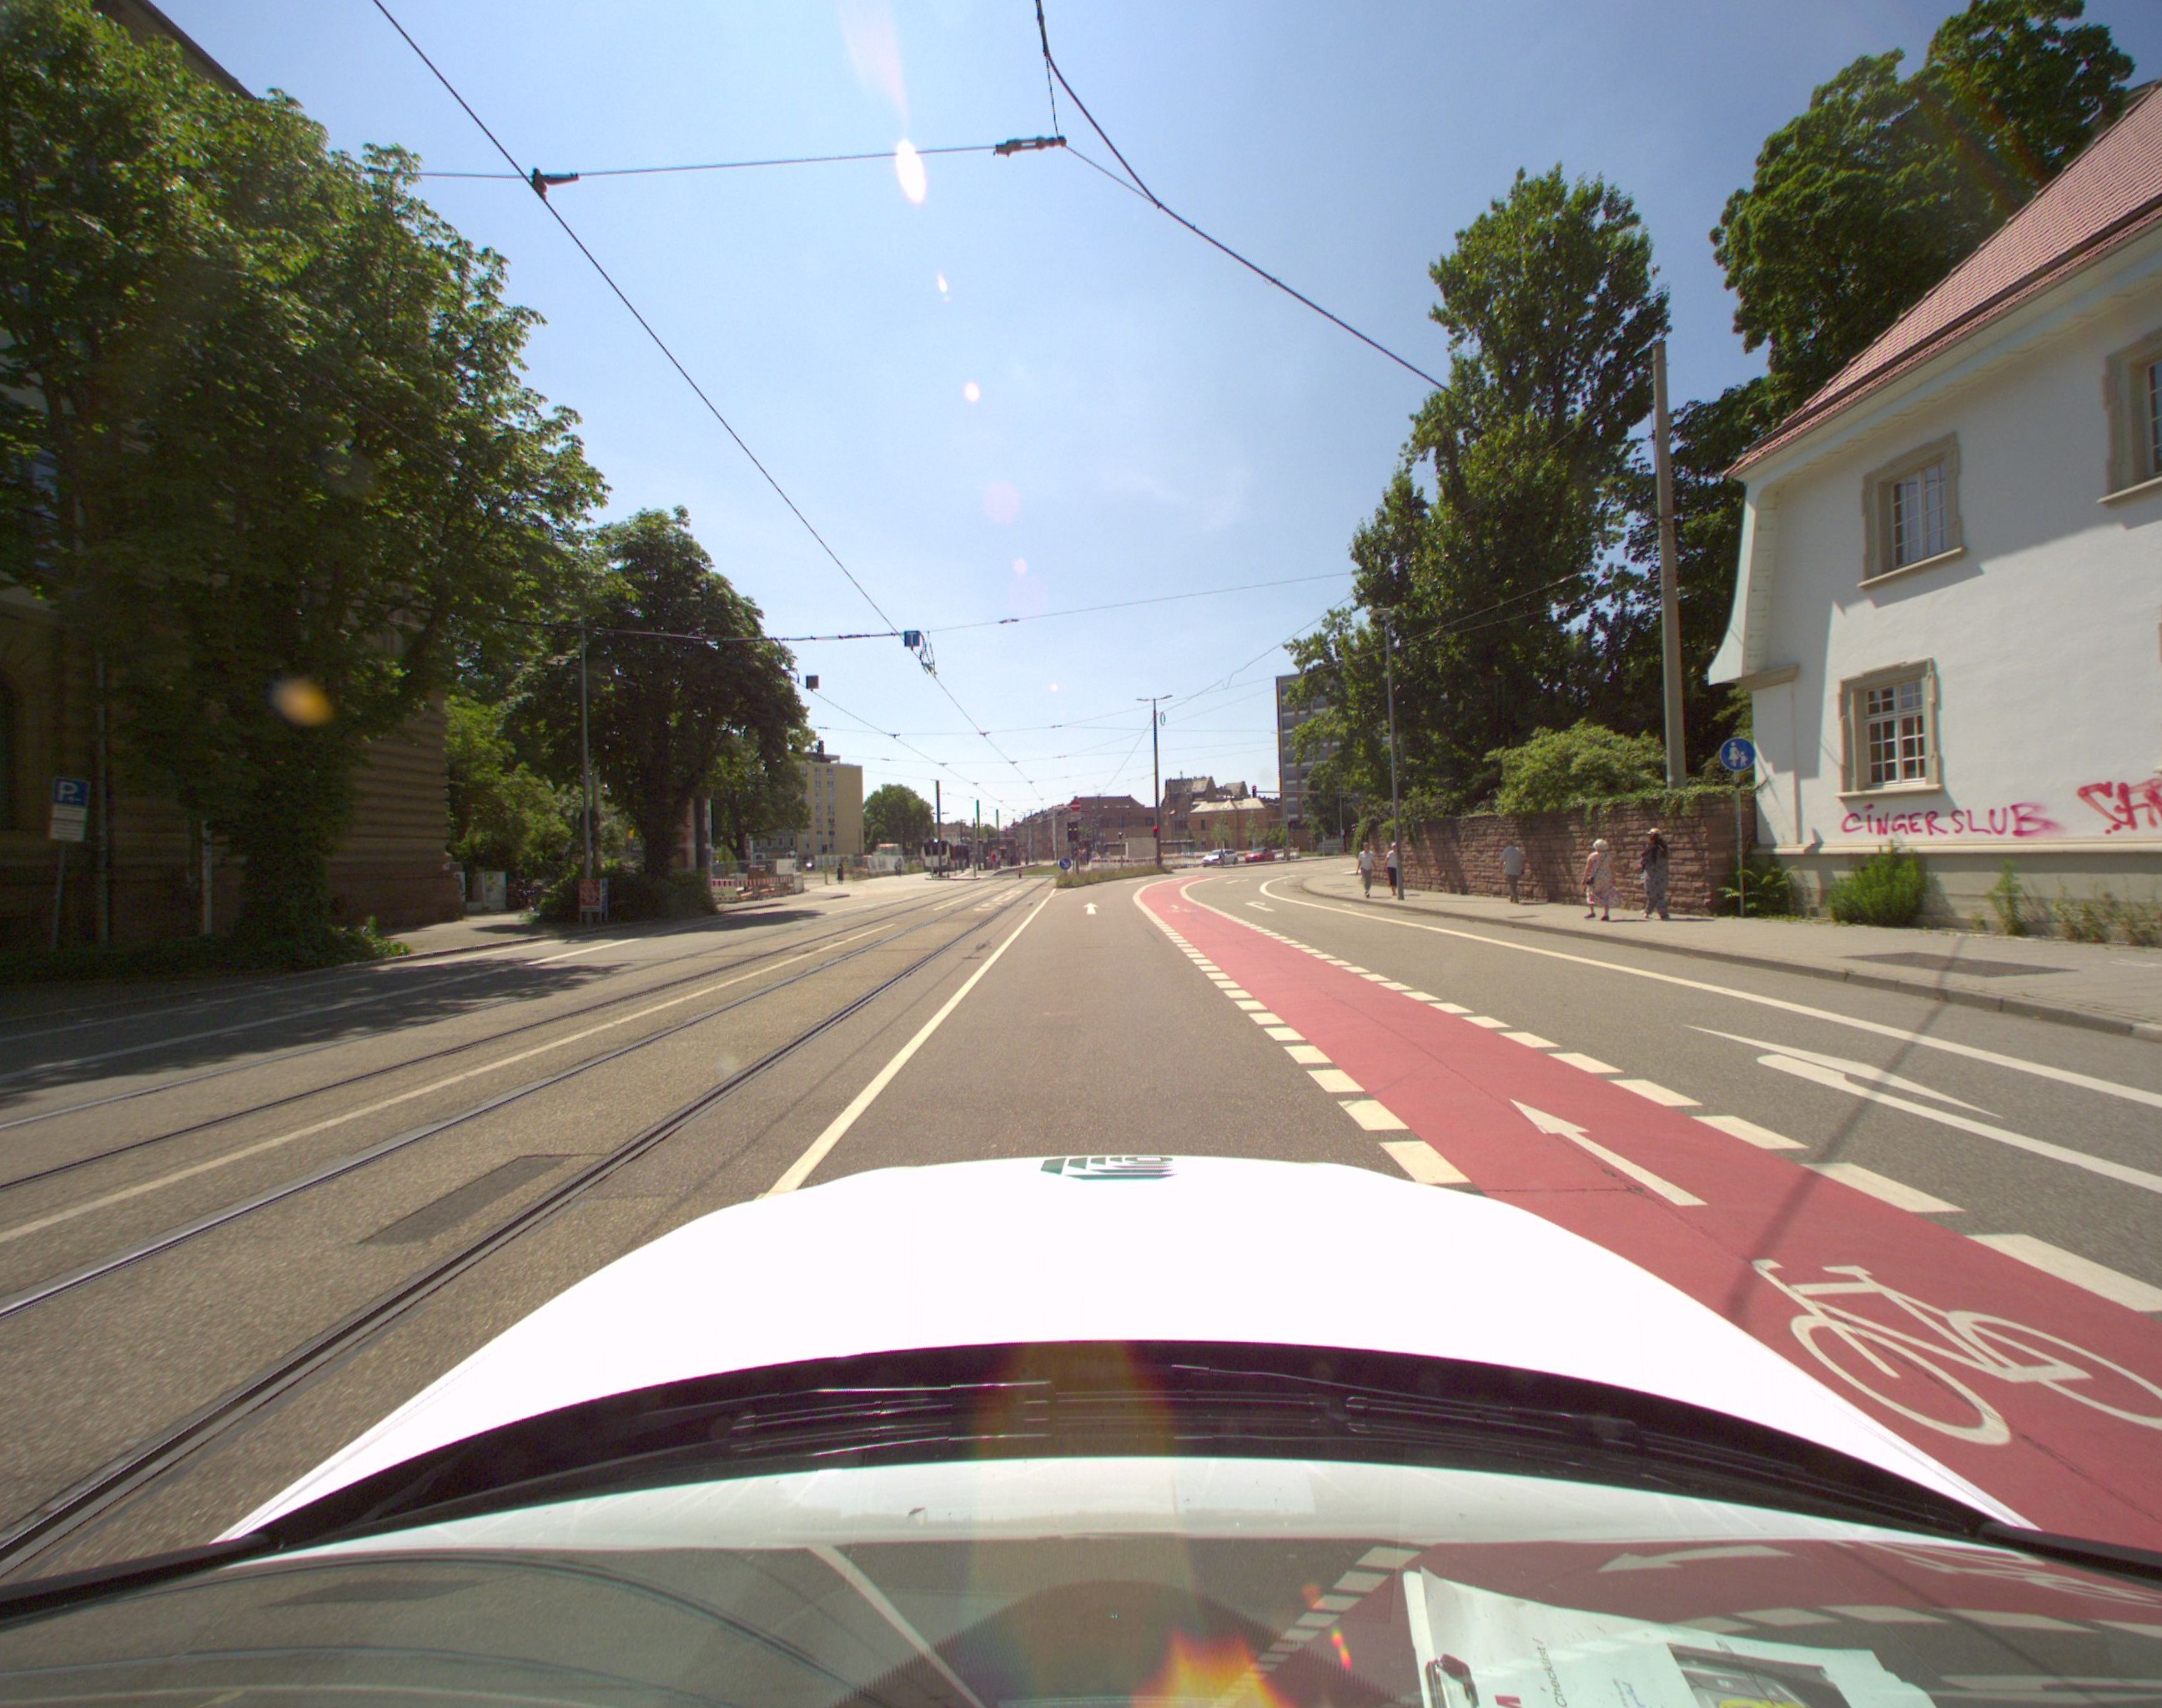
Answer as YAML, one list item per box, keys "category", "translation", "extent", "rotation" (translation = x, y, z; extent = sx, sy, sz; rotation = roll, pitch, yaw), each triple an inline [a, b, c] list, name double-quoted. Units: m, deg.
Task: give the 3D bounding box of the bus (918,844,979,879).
- category: "bus"
  translation: [-13.433, 0.743, 84.725]
  extent: [2.999, 3.158, 17.501]
  rotation: [-2, 0, 1]

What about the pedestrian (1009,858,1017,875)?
- category: "pedestrian"
  translation: [-8.591, 1.544, 102.887]
  extent: [0.895, 2.096, 0.833]
  rotation: [-2, 0, 5]

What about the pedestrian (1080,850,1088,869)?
- category: "pedestrian"
  translation: [0.283, 0.550, 81.638]
  extent: [0.656, 1.832, 0.758]
  rotation: [-2, 0, -7]

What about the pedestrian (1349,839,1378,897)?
- category: "pedestrian"
  translation: [9.094, 0.452, 26.229]
  extent: [0.674, 1.808, 0.749]
  rotation: [-2, 0, 4]

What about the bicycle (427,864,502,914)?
- category: "bicycle"
  translation: [-21.425, 1.217, 28.325]
  extent: [2.309, 1.692, 0.553]
  rotation: [-1, -1, 5]

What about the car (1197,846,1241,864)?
- category: "car"
  translation: [12.129, 0.089, 71.285]
  extent: [1.974, 1.438, 4.735]
  rotation: [-2, -1, 35]

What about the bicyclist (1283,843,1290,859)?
- category: "bicyclist"
  translation: [22.703, -0.327, 89.884]
  extent: [0.561, 1.719, 0.510]
  rotation: [-3, -1, 41]

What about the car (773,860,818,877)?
- category: "car"
  translation: [-30.821, 1.537, 87.994]
  extent: [4.154, 1.649, 1.858]
  rotation: [-2, 0, 12]

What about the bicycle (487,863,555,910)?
- category: "bicycle"
  translation: [-21.162, 1.221, 30.786]
  extent: [2.309, 1.692, 0.553]
  rotation: [-1, -1, 5]

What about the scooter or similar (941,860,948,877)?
- category: "scooter or similar"
  translation: [-10.090, 1.083, 60.304]
  extent: [0.318, 1.206, 1.247]
  rotation: [-2, 0, -4]

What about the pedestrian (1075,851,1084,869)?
- category: "pedestrian"
  translation: [-0.178, 0.587, 80.279]
  extent: [0.727, 1.707, 0.741]
  rotation: [-1, -1, -11]

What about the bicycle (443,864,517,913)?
- category: "bicycle"
  translation: [-21.354, 1.218, 28.936]
  extent: [2.309, 1.692, 0.553]
  rotation: [-1, -1, 5]

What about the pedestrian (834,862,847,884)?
- category: "pedestrian"
  translation: [-18.440, 1.463, 62.490]
  extent: [0.602, 1.602, 0.828]
  rotation: [-2, 0, 10]

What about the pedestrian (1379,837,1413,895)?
- category: "pedestrian"
  translation: [10.141, 0.380, 26.243]
  extent: [0.810, 1.808, 0.701]
  rotation: [-2, 0, 4]

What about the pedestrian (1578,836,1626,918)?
- category: "pedestrian"
  translation: [10.033, 0.431, 15.694]
  extent: [0.513, 1.533, 0.598]
  rotation: [-2, 0, 5]

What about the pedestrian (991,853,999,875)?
- category: "pedestrian"
  translation: [-7.771, 0.905, 73.641]
  extent: [0.672, 1.909, 0.638]
  rotation: [-2, 0, -9]

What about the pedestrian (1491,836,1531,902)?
- category: "pedestrian"
  translation: [10.907, 0.373, 20.679]
  extent: [0.657, 1.647, 0.625]
  rotation: [-2, 0, 5]

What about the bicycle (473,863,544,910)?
- category: "bicycle"
  translation: [-21.211, 1.207, 30.180]
  extent: [2.309, 1.692, 0.553]
  rotation: [-1, -1, 5]

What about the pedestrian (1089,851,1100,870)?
- category: "pedestrian"
  translation: [1.322, 0.677, 82.253]
  extent: [0.771, 1.864, 0.722]
  rotation: [0, -2, -41]

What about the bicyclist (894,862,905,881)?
- category: "bicyclist"
  translation: [-16.447, 1.566, 73.922]
  extent: [0.819, 1.709, 0.770]
  rotation: [-2, 0, -2]

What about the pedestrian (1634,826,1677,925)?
- category: "pedestrian"
  translation: [10.700, 0.406, 15.163]
  extent: [0.621, 1.774, 0.723]
  rotation: [0, -5, 38]

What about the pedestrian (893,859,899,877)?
- category: "pedestrian"
  translation: [-18.242, 1.376, 80.327]
  extent: [0.566, 1.705, 0.396]
  rotation: [-2, 0, -7]

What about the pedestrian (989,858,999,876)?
- category: "pedestrian"
  translation: [-8.882, 1.336, 83.184]
  extent: [0.911, 1.851, 0.655]
  rotation: [-2, 0, -10]

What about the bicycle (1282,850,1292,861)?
- category: "bicycle"
  translation: [22.710, 0.185, 89.763]
  extent: [0.394, 1.174, 1.782]
  rotation: [-3, -2, 38]

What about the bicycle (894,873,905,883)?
- category: "bicycle"
  translation: [-16.440, 2.165, 73.728]
  extent: [0.502, 0.914, 2.368]
  rotation: [-2, 0, -2]

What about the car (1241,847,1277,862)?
- category: "car"
  translation: [17.182, 0.028, 78.429]
  extent: [1.714, 1.425, 4.150]
  rotation: [-2, -1, 37]

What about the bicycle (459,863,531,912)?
- category: "bicycle"
  translation: [-21.262, 1.219, 29.573]
  extent: [2.309, 1.692, 0.553]
  rotation: [-1, -1, 5]
